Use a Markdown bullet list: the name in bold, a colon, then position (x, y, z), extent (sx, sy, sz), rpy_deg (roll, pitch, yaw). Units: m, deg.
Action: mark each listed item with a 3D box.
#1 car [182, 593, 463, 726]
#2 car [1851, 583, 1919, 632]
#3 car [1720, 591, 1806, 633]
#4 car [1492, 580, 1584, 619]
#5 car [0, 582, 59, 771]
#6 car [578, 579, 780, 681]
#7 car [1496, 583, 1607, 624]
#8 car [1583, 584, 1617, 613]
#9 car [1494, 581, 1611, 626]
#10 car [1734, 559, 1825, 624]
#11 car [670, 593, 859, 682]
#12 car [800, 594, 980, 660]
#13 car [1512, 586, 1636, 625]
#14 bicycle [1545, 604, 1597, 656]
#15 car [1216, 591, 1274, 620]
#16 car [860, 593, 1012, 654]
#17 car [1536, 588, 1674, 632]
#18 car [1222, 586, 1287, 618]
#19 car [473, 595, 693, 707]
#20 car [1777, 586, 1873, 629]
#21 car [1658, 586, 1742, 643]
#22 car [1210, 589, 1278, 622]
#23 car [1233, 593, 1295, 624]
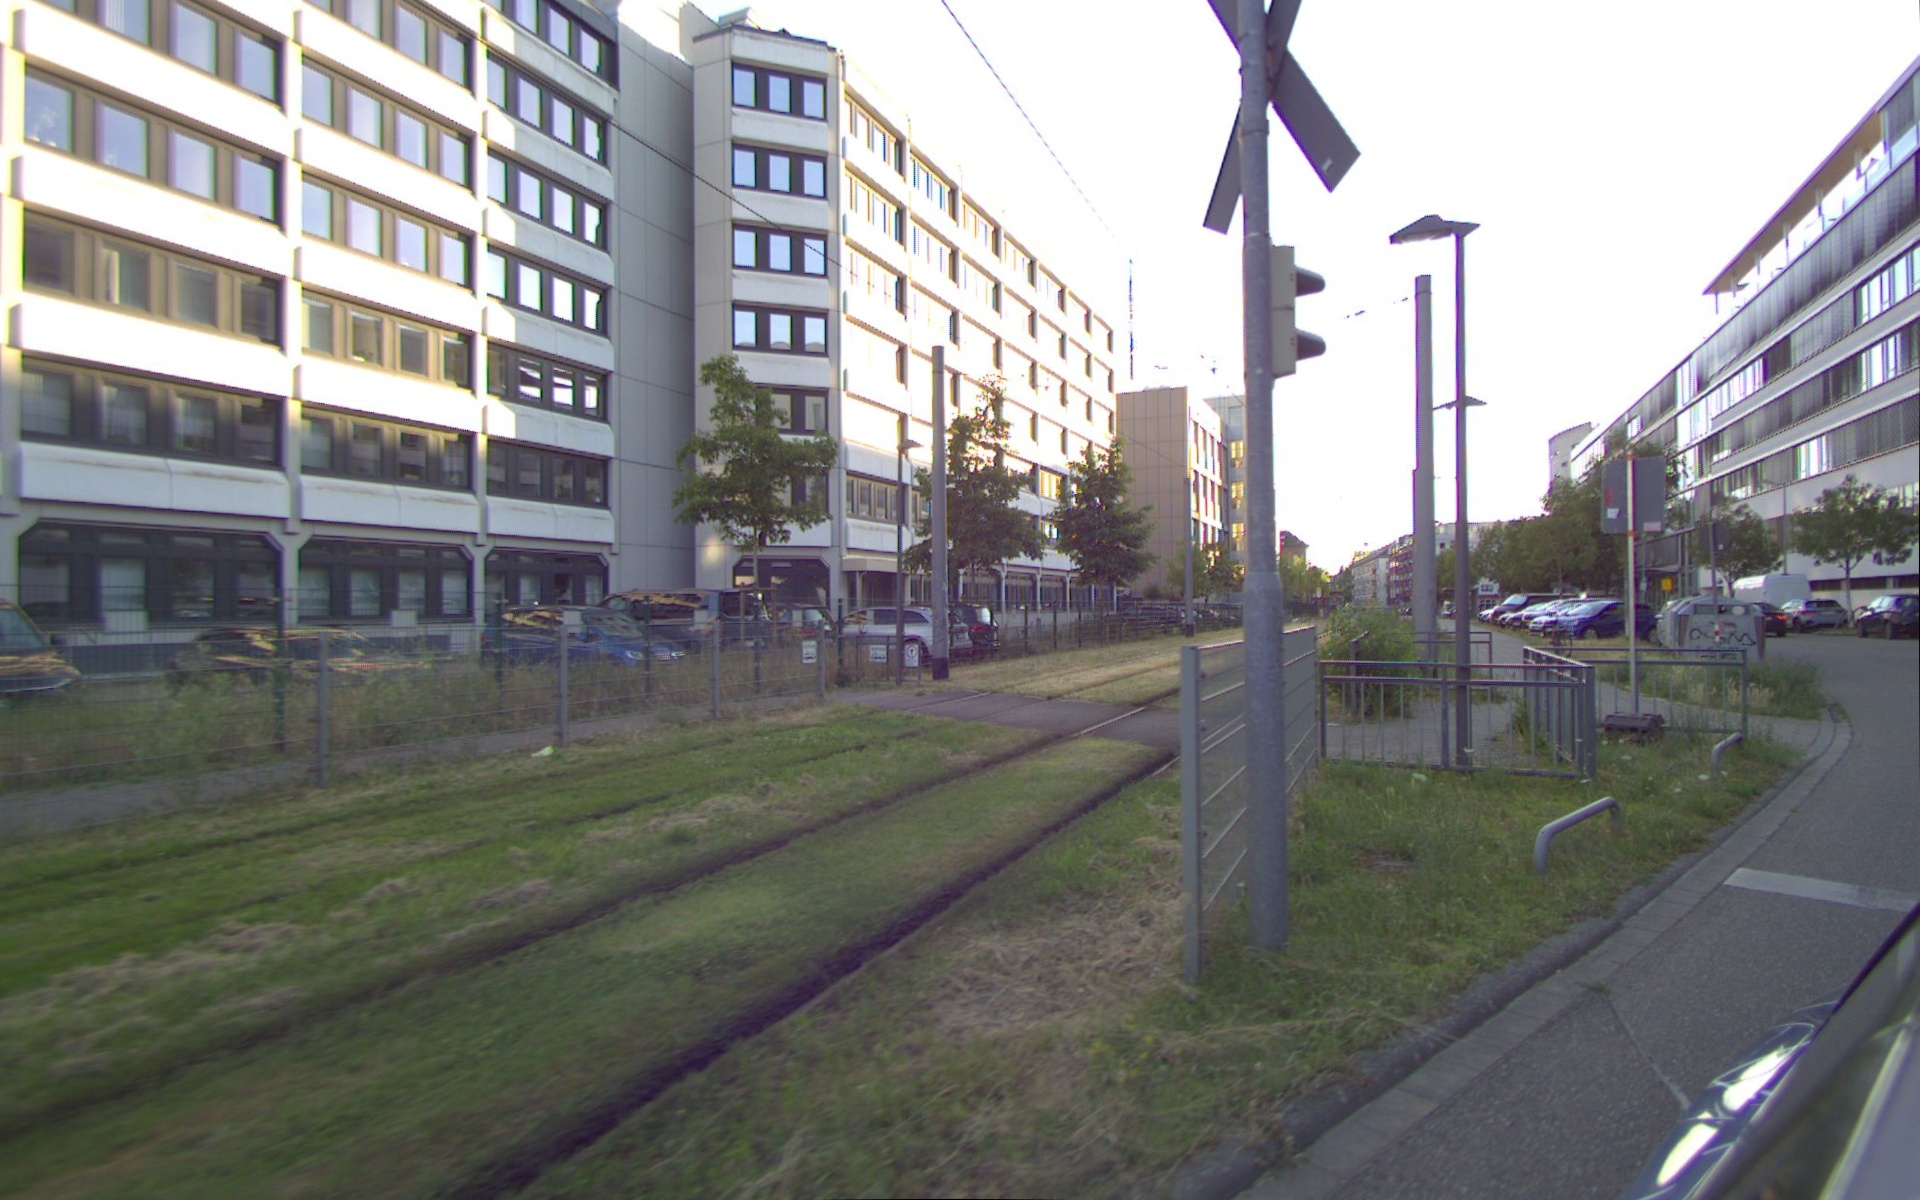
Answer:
- **car**: position (-9.695, 0.831, 15.368), extent (3.964, 1.772, 1.980), rpy_deg (-1, -1, 29)
- **car**: position (33.249, 0.234, 35.421), extent (1.777, 1.571, 3.970), rpy_deg (-3, -1, 22)
- **car**: position (33.035, 0.459, 41.765), extent (1.843, 1.517, 4.628), rpy_deg (-5, -2, 28)
- **car**: position (30.979, -0.046, 54.255), extent (4.087, 1.984, 1.720), rpy_deg (-1, -1, -10)
- **car**: position (-12.325, 0.861, 11.482), extent (3.964, 2.039, 1.980), rpy_deg (-1, -1, 29)
- **car**: position (-6.149, 0.645, 22.151), extent (3.960, 2.039, 1.982), rpy_deg (-2, -1, 27)
- **car**: position (25.649, 0.151, 43.918), extent (3.917, 1.665, 1.720), rpy_deg (-1, -1, -10)
- **car**: position (60.252, -0.134, 95.371), extent (1.977, 2.618, 3.969), rpy_deg (-1, 0, 23)
- **car**: position (24.365, 0.143, 41.646), extent (3.917, 1.779, 1.720), rpy_deg (-1, -1, -10)
- **car**: position (39.225, -0.383, 48.638), extent (1.985, 2.912, 6.200), rpy_deg (0, 0, 25)
- **car**: position (-4.832, 0.900, 24.966), extent (4.232, 2.039, 1.982), rpy_deg (-2, -1, 27)
- **car**: position (-1.844, 0.704, 26.346), extent (4.362, 1.613, 1.801), rpy_deg (-2, -1, 27)
- **car**: position (23.494, 0.216, 38.748), extent (3.916, 1.394, 1.721), rpy_deg (-1, -1, -13)
- **bicycle**: position (14.239, 0.687, 23.557), extent (1.893, 1.149, 0.541), rpy_deg (0, -1, -44)
- **car**: position (21.080, 0.424, 74.834), extent (3.955, 2.039, 1.984), rpy_deg (-1, -1, 24)
- **car**: position (-0.692, 0.671, 28.852), extent (3.960, 1.613, 1.801), rpy_deg (-2, -1, 27)
- **car**: position (22.160, 0.348, 34.808), extent (3.916, 1.394, 1.721), rpy_deg (-1, -1, -13)
- **car**: position (19.711, 0.137, 67.641), extent (3.955, 2.039, 1.984), rpy_deg (-1, -1, 24)
- **car**: position (-7.524, 0.970, 20.177), extent (3.960, 2.039, 1.981), rpy_deg (-1, -1, 27)
- **car**: position (36.860, 0.292, 43.249), extent (1.775, 1.724, 3.974), rpy_deg (0, 0, 20)
- **car**: position (21.226, 0.401, 29.139), extent (1.618, 1.531, 3.380), rpy_deg (-1, 0, 31)
- **car**: position (18.334, 0.356, 65.322), extent (3.955, 2.039, 1.984), rpy_deg (-1, -1, 24)
- **car**: position (21.360, 0.594, 71.038), extent (3.955, 2.039, 1.984), rpy_deg (-1, -1, 24)
